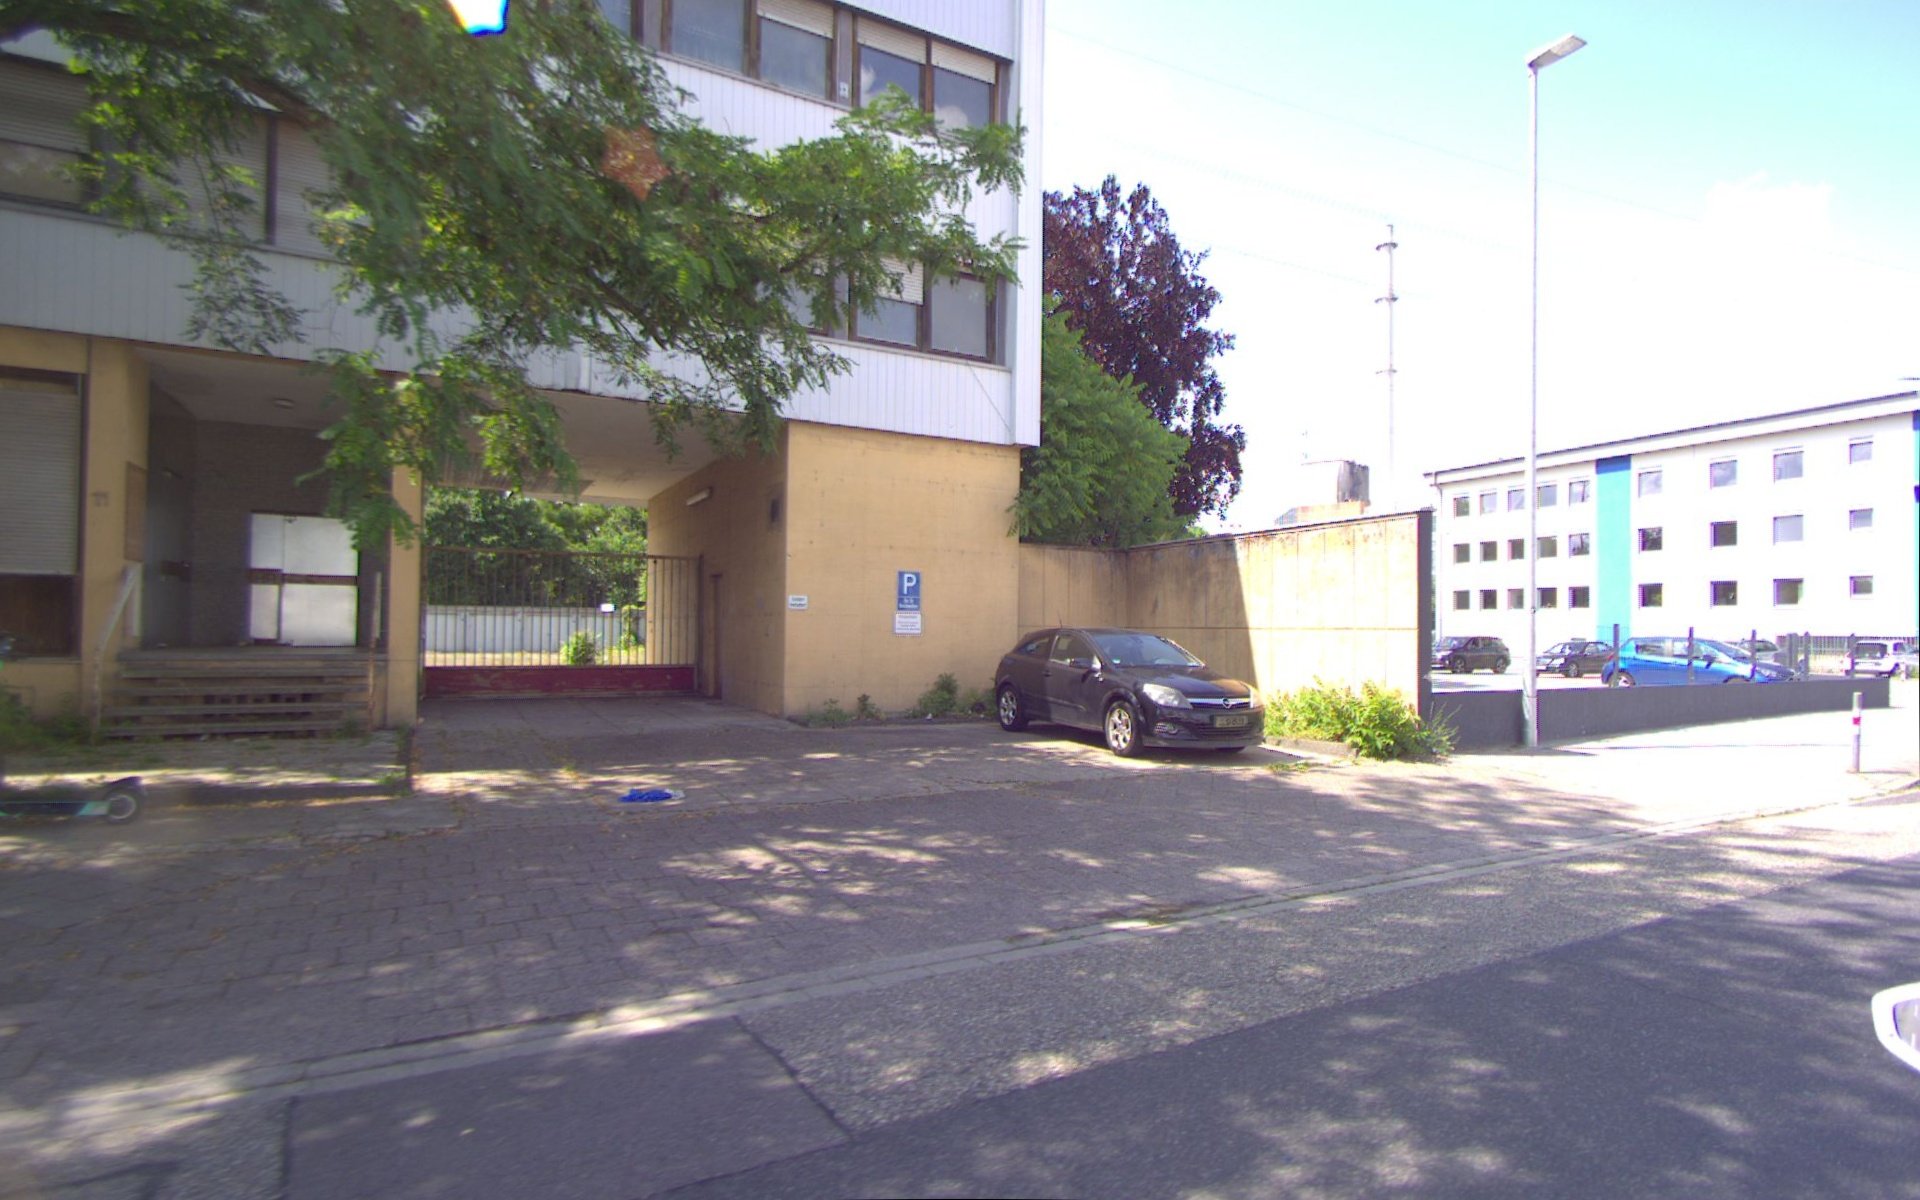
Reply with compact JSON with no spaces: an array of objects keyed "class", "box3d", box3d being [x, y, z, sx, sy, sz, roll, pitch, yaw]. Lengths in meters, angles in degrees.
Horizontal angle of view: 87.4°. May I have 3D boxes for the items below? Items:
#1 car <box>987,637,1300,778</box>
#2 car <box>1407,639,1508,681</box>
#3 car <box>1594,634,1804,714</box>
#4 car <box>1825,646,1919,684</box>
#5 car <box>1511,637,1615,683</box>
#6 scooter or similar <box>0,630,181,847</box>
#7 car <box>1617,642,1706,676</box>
[{"class":"car","box3d":[2.031,1.175,12.292,1.771,1.380,3.980,2,-2,-26]},{"class":"car","box3d":[21.655,2.614,43.736,4.012,1.731,1.867,2,-2,-25]},{"class":"car","box3d":[17.587,1.690,24.050,1.857,1.731,3.631,2,-2,-30]},{"class":"car","box3d":[38.375,2.700,42.069,3.706,1.526,1.868,2,-2,-24]},{"class":"car","box3d":[23.445,2.312,39.093,3.431,1.731,1.868,2,-2,-24]},{"class":"scooter or similar","box3d":[-5.848,0.855,6.375,1.344,1.296,0.480,2,1,-30]},{"class":"car","box3d":[36.005,3.024,51.566,4.384,1.676,1.819,2,-2,-25]}]
